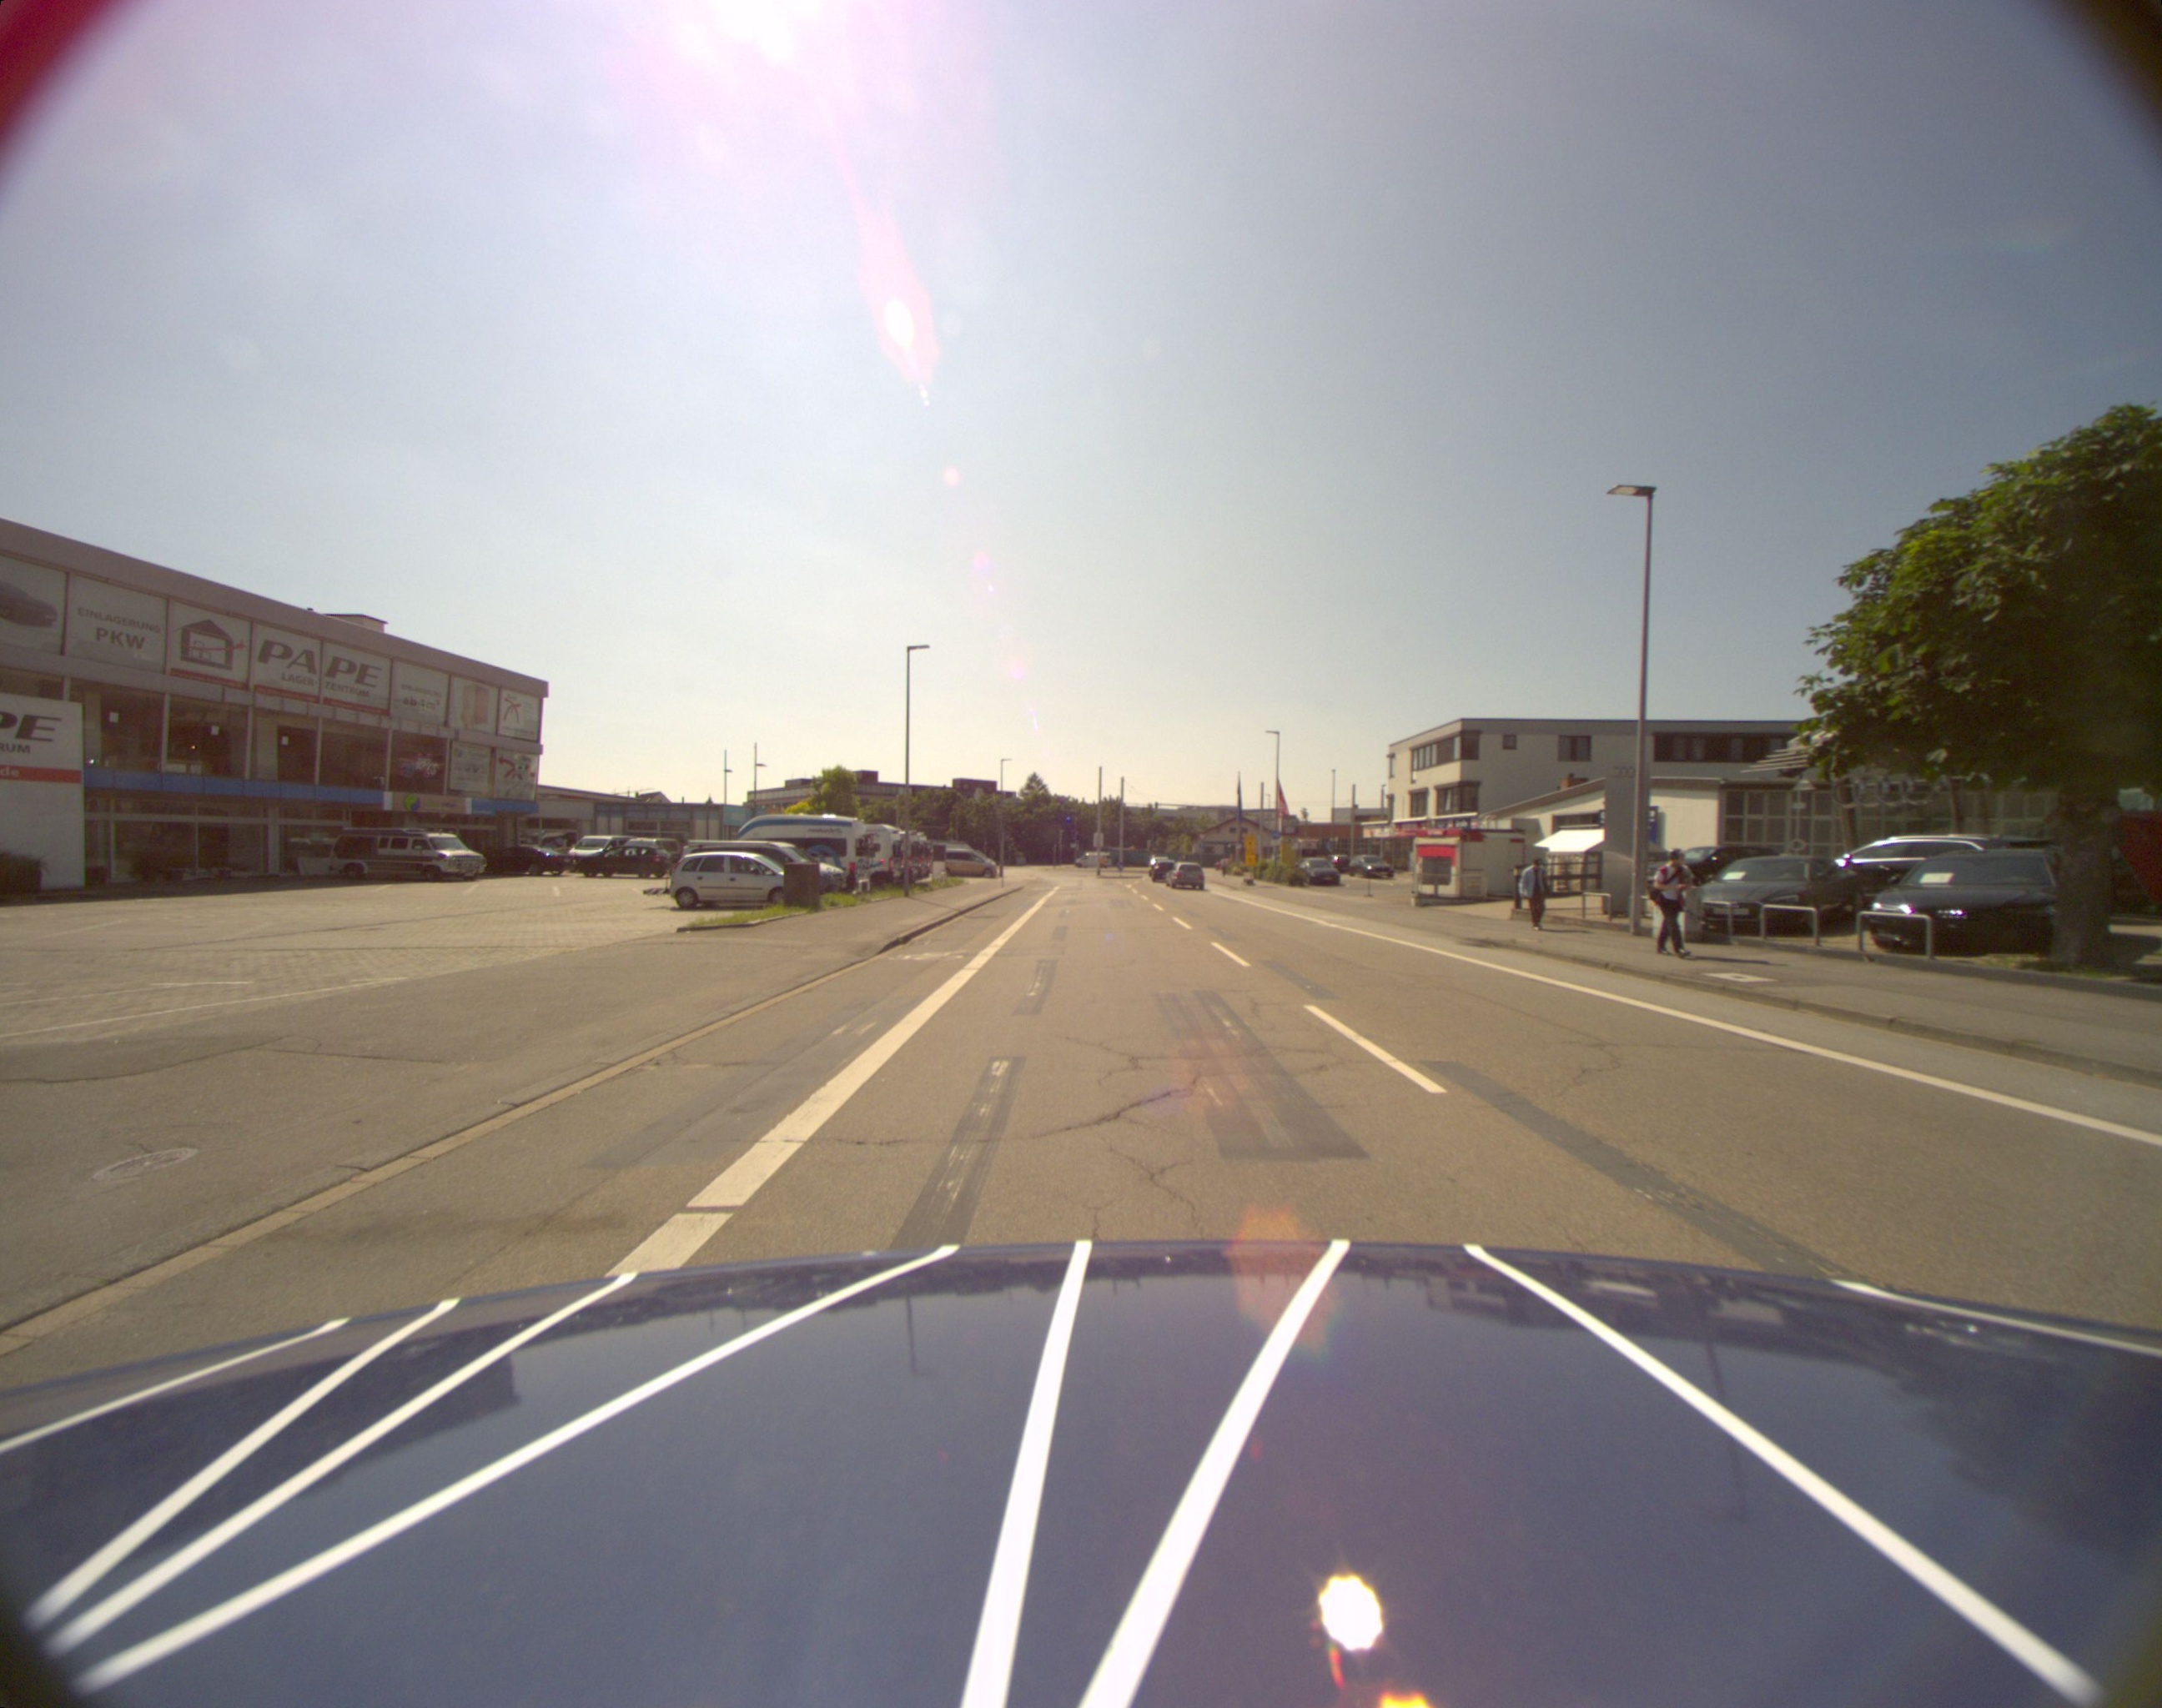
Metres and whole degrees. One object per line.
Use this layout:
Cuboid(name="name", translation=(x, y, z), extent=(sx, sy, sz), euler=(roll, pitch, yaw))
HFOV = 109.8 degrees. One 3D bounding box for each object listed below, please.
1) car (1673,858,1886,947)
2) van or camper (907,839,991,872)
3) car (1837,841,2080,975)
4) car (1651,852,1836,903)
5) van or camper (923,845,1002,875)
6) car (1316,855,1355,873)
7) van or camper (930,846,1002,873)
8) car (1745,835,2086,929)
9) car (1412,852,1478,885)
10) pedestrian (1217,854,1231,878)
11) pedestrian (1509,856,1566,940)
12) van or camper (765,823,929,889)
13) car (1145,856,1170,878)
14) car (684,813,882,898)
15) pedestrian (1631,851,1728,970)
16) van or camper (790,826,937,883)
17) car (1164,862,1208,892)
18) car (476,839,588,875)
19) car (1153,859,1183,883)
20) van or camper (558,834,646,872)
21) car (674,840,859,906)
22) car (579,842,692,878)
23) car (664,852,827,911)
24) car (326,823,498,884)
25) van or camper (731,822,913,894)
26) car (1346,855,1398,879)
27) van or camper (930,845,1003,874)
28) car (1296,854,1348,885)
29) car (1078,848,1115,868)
Cuboid(name="car", translation=(14.009, 0.871, 15.213), extent=(4.167, 1.451, 1.903), euler=(-2, 1, -29))
Cuboid(name="van or camper", translation=(-10.911, 0.177, 63.124), extent=(6.376, 2.621, 2.526), euler=(1, 0, -35))
Cuboid(name="car", translation=(14.101, 0.765, 12.149), extent=(4.490, 1.599, 1.961), euler=(-3, -2, -35))
Cuboid(name="car", translation=(20.277, 0.692, 23.396), extent=(3.996, 1.516, 1.898), euler=(0, 0, 2))
Cuboid(name="van or camper", translation=(-8.513, 0.465, 54.635), extent=(5.145, 1.950, 1.981), euler=(2, 1, -30))
Cuboid(name="car", translation=(20.477, 0.776, 61.257), extent=(1.911, 1.380, 4.486), euler=(1, 0, 4))
Cuboid(name="van or camper", translation=(-9.158, 0.453, 60.761), extent=(5.149, 2.064, 2.446), euler=(1, 0, -32))
Cuboid(name="car", translation=(18.194, 0.526, 16.983), extent=(2.001, 1.709, 4.726), euler=(-3, 1, -15))
Cuboid(name="car", translation=(21.134, 0.803, 44.323), extent=(1.911, 1.699, 4.478), euler=(1, 2, 5))
Cuboid(name="pedestrian", translation=(10.336, 0.845, 54.937), extent=(0.995, 1.676, 0.800), euler=(1, 0, 12))
Cuboid(name="pedestrian", translation=(10.346, 0.970, 17.249), extent=(0.725, 1.837, 0.911), euler=(1, 0, 1))
Cuboid(name="van or camper", translation=(-10.195, 0.100, 33.611), extent=(6.365, 2.700, 2.712), euler=(1, 0, 1))
Cuboid(name="car", translation=(6.321, 1.076, 63.209), extent=(1.897, 1.748, 4.354), euler=(1, 0, 3))
Cuboid(name="car", translation=(-10.706, 0.056, 27.660), extent=(6.243, 2.852, 2.320), euler=(1, 0, 1))
Cuboid(name="pedestrian", translation=(9.770, 0.887, 12.448), extent=(0.734, 1.856, 1.047), euler=(1, 0, 0))
Cuboid(name="van or camper", translation=(-10.219, 0.022, 36.173), extent=(6.211, 2.510, 2.619), euler=(1, 0, 1))
Cuboid(name="car", translation=(5.646, 1.206, 41.197), extent=(1.746, 1.396, 4.324), euler=(2, 0, 0))
Cuboid(name="car", translation=(-27.725, 0.162, 38.471), extent=(4.117, 1.723, 1.999), euler=(1, 0, -3))
Cuboid(name="car", translation=(5.680, 1.086, 50.047), extent=(1.664, 1.446, 4.242), euler=(2, 0, 4))
Cuboid(name="van or camper", translation=(-27.550, -0.059, 43.937), extent=(2.123, 2.002, 5.112), euler=(1, 0, -5))
Cuboid(name="car", translation=(-10.292, 0.606, 25.157), extent=(5.247, 1.940, 2.000), euler=(2, 0, 0))
Cuboid(name="car", translation=(-22.560, 0.306, 38.626), extent=(4.550, 1.668, 1.999), euler=(1, 0, -3))
Cuboid(name="car", translation=(-9.700, 0.765, 22.215), extent=(3.931, 1.584, 1.798), euler=(-1, 0, 0))
Cuboid(name="car", translation=(-28.604, -0.019, 32.631), extent=(5.310, 2.404, 2.326), euler=(1, 0, 0))
Cuboid(name="van or camper", translation=(-10.277, 0.144, 30.636), extent=(6.365, 2.684, 2.712), euler=(1, 0, 1))
Cuboid(name="car", translation=(18.804, 0.819, 49.242), extent=(1.911, 1.413, 4.420), euler=(1, 0, 4))
Cuboid(name="van or camper", translation=(-8.658, 0.405, 57.656), extent=(4.991, 2.033, 2.037), euler=(1, 1, -30))
Cuboid(name="car", translation=(14.015, 0.864, 44.442), extent=(1.909, 1.705, 4.001), euler=(1, 0, 3))
Cuboid(name="car", translation=(2.082, 0.483, 101.092), extent=(4.422, 1.937, 2.000), euler=(8, 8, 28))
